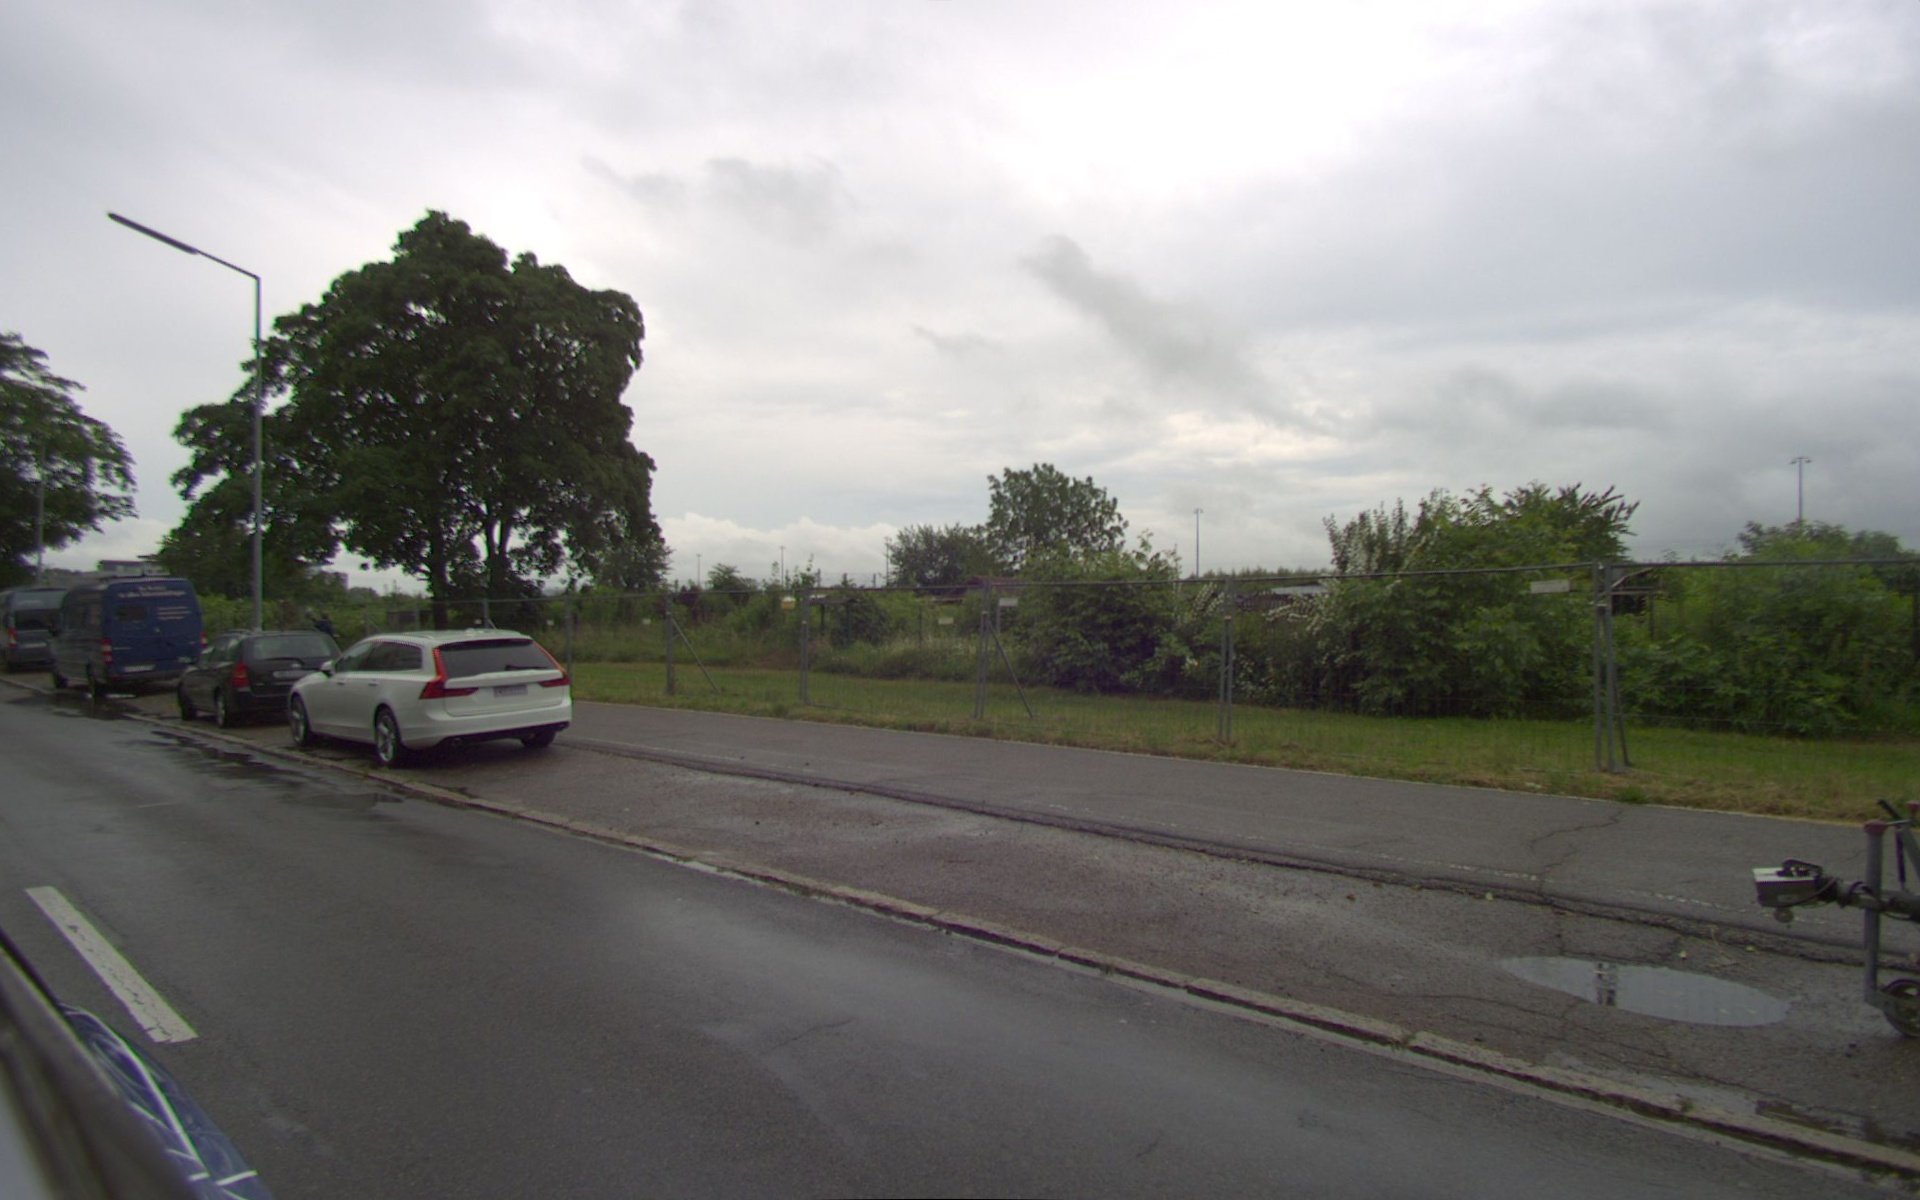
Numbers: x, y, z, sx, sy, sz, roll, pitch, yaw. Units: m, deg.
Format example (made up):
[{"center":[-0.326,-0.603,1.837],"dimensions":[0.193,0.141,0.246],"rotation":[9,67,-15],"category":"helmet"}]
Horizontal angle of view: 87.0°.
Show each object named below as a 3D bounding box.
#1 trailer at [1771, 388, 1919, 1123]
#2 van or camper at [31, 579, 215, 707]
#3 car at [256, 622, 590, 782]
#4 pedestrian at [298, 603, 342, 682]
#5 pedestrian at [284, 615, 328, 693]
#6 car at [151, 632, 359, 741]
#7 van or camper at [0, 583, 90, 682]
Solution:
[{"center":[5.539,0.410,2.238],"dimensions":[5.788,2.234,2.038],"rotation":[-2,-1,39],"category":"trailer"},{"center":[-20.909,0.964,25.107],"dimensions":[7.566,2.736,2.074],"rotation":[-1,1,39],"category":"van or camper"},{"center":[-6.827,1.104,12.580],"dimensions":[5.105,1.537,1.868],"rotation":[-2,0,40],"category":"car"},{"center":[-16.694,1.093,26.395],"dimensions":[0.853,2.029,0.712],"rotation":[-2,-1,40],"category":"pedestrian"},{"center":[-17.514,1.440,27.100],"dimensions":[0.900,2.029,0.730],"rotation":[-2,-1,40],"category":"pedestrian"},{"center":[-11.894,1.327,16.932],"dimensions":[4.825,1.514,1.755],"rotation":[-2,0,41],"category":"car"},{"center":[-32.162,1.063,34.981],"dimensions":[6.418,3.117,2.074],"rotation":[-1,1,40],"category":"van or camper"}]
